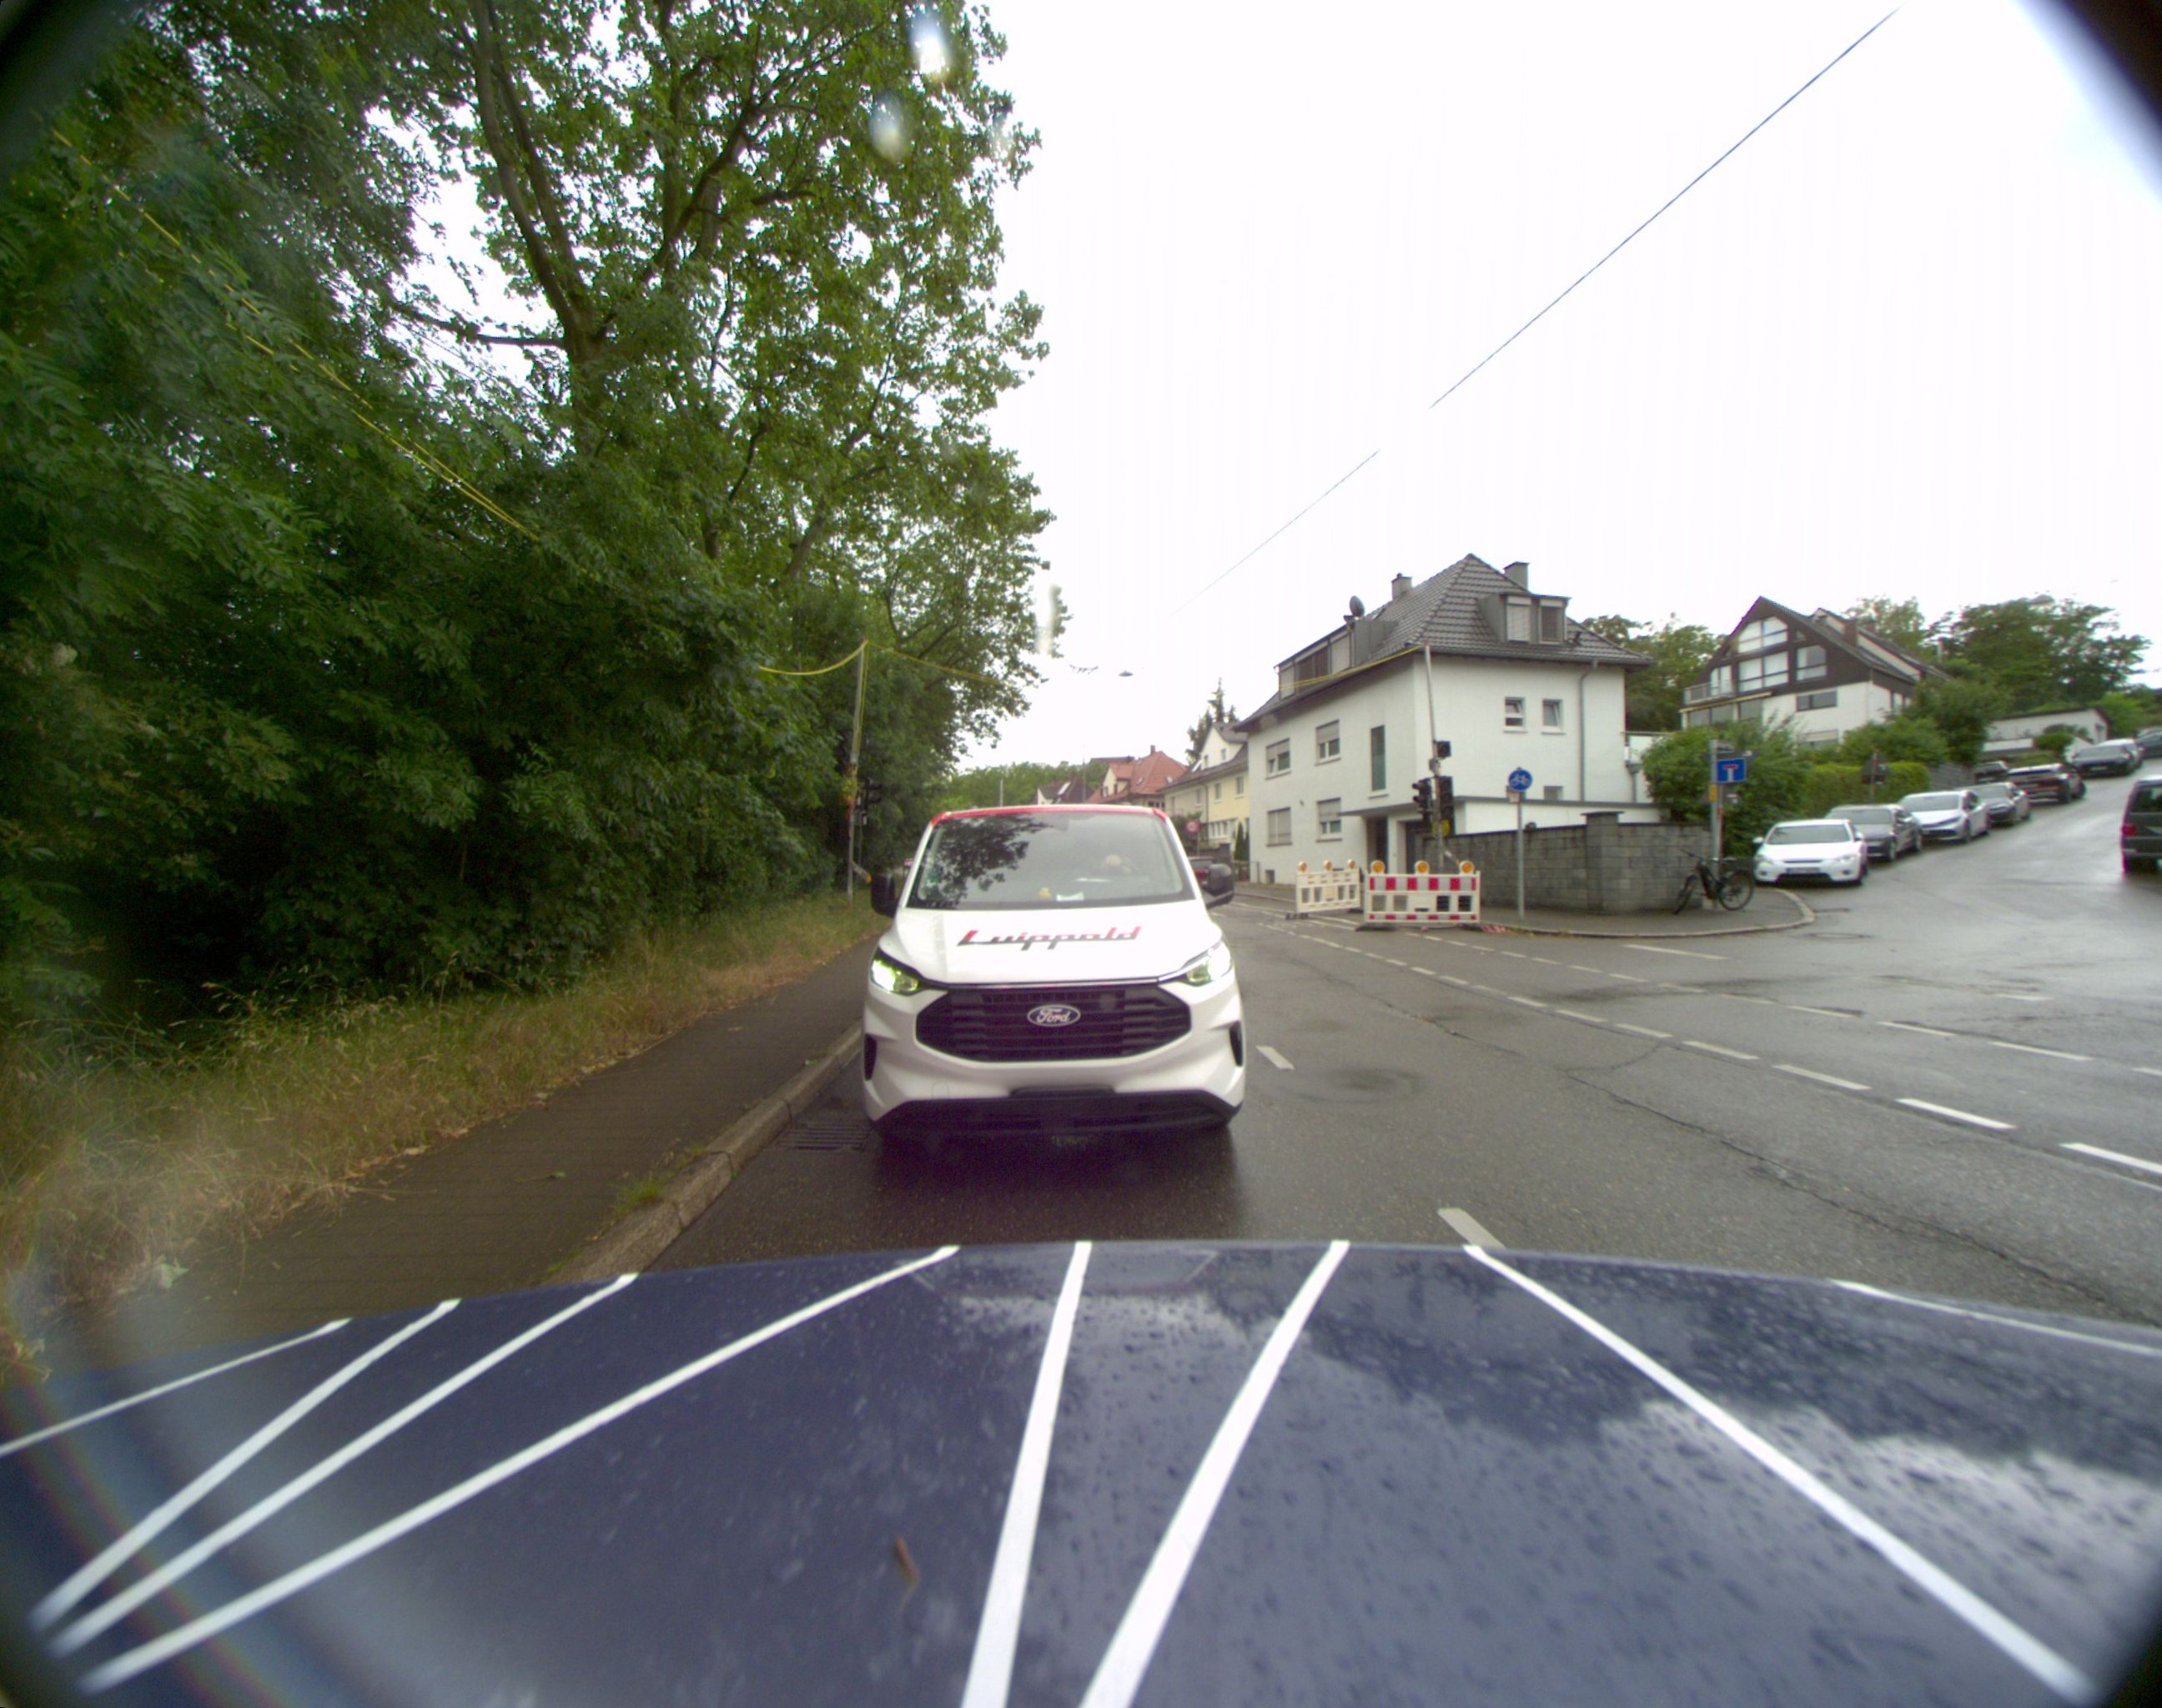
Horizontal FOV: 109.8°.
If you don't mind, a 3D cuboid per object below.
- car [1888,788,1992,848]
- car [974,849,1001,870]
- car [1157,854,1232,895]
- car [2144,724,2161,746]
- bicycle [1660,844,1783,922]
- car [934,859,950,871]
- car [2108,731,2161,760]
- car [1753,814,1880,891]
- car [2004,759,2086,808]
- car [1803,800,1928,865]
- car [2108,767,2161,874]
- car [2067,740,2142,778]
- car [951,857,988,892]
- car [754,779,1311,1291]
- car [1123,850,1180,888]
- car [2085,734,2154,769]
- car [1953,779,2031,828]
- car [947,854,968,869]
[{"bbox_3d":[27.251,-1.162,24.075,3.859,1.458,1.579,-8,4,-32],"label":"car"},{"bbox_3d":[-9.396,0.502,76.039,2.001,2.002,3.994,-2,1,-17],"label":"car"},{"bbox_3d":[4.381,0.829,29.906,1.898,1.485,3.795,-1,-2,-8],"label":"car"},{"bbox_3d":[81.262,-8.947,55.763,1.624,1.492,3.514,-9,3,-24],"label":"car"},{"bbox_3d":[11.724,0.512,13.930,1.732,1.304,0.707,-2,1,-7],"label":"bicycle"},{"bbox_3d":[-18.842,1.428,102.968,1.767,1.519,3.585,-2,1,-17],"label":"car"},{"bbox_3d":[68.144,-6.967,48.103,1.582,1.492,3.607,-10,4,-34],"label":"car"},{"bbox_3d":[17.667,-0.059,18.207,3.566,1.458,1.746,-7,2,-39],"label":"car"},{"bbox_3d":[40.597,-2.978,31.979,3.988,1.547,1.333,-9,3,-26],"label":"car"},{"bbox_3d":[22.427,-0.634,21.701,3.859,1.458,1.700,-7,2,-32],"label":"car"},{"bbox_3d":[23.610,-0.812,16.053,3.801,1.926,1.911,-9,3,-31],"label":"car"},{"bbox_3d":[54.760,-5.066,40.649,3.834,1.492,1.733,-9,3,-26],"label":"car"},{"bbox_3d":[-5.592,1.043,38.350,1.670,1.579,4.004,-3,-2,-8],"label":"car"},{"bbox_3d":[-0.145,0.667,5.490,2.045,1.883,5.208,-2,1,1],"label":"car"},{"bbox_3d":[3.163,0.704,34.805,1.670,1.579,4.004,-3,-2,-8],"label":"car"},{"bbox_3d":[60.518,-5.990,44.269,3.834,1.492,1.733,-9,3,-26],"label":"car"},{"bbox_3d":[32.347,-1.809,26.965,3.508,1.383,1.333,-8,4,-32],"label":"car"},{"bbox_3d":[-15.313,0.907,94.066,2.001,1.850,4.354,-2,1,-17],"label":"car"}]
